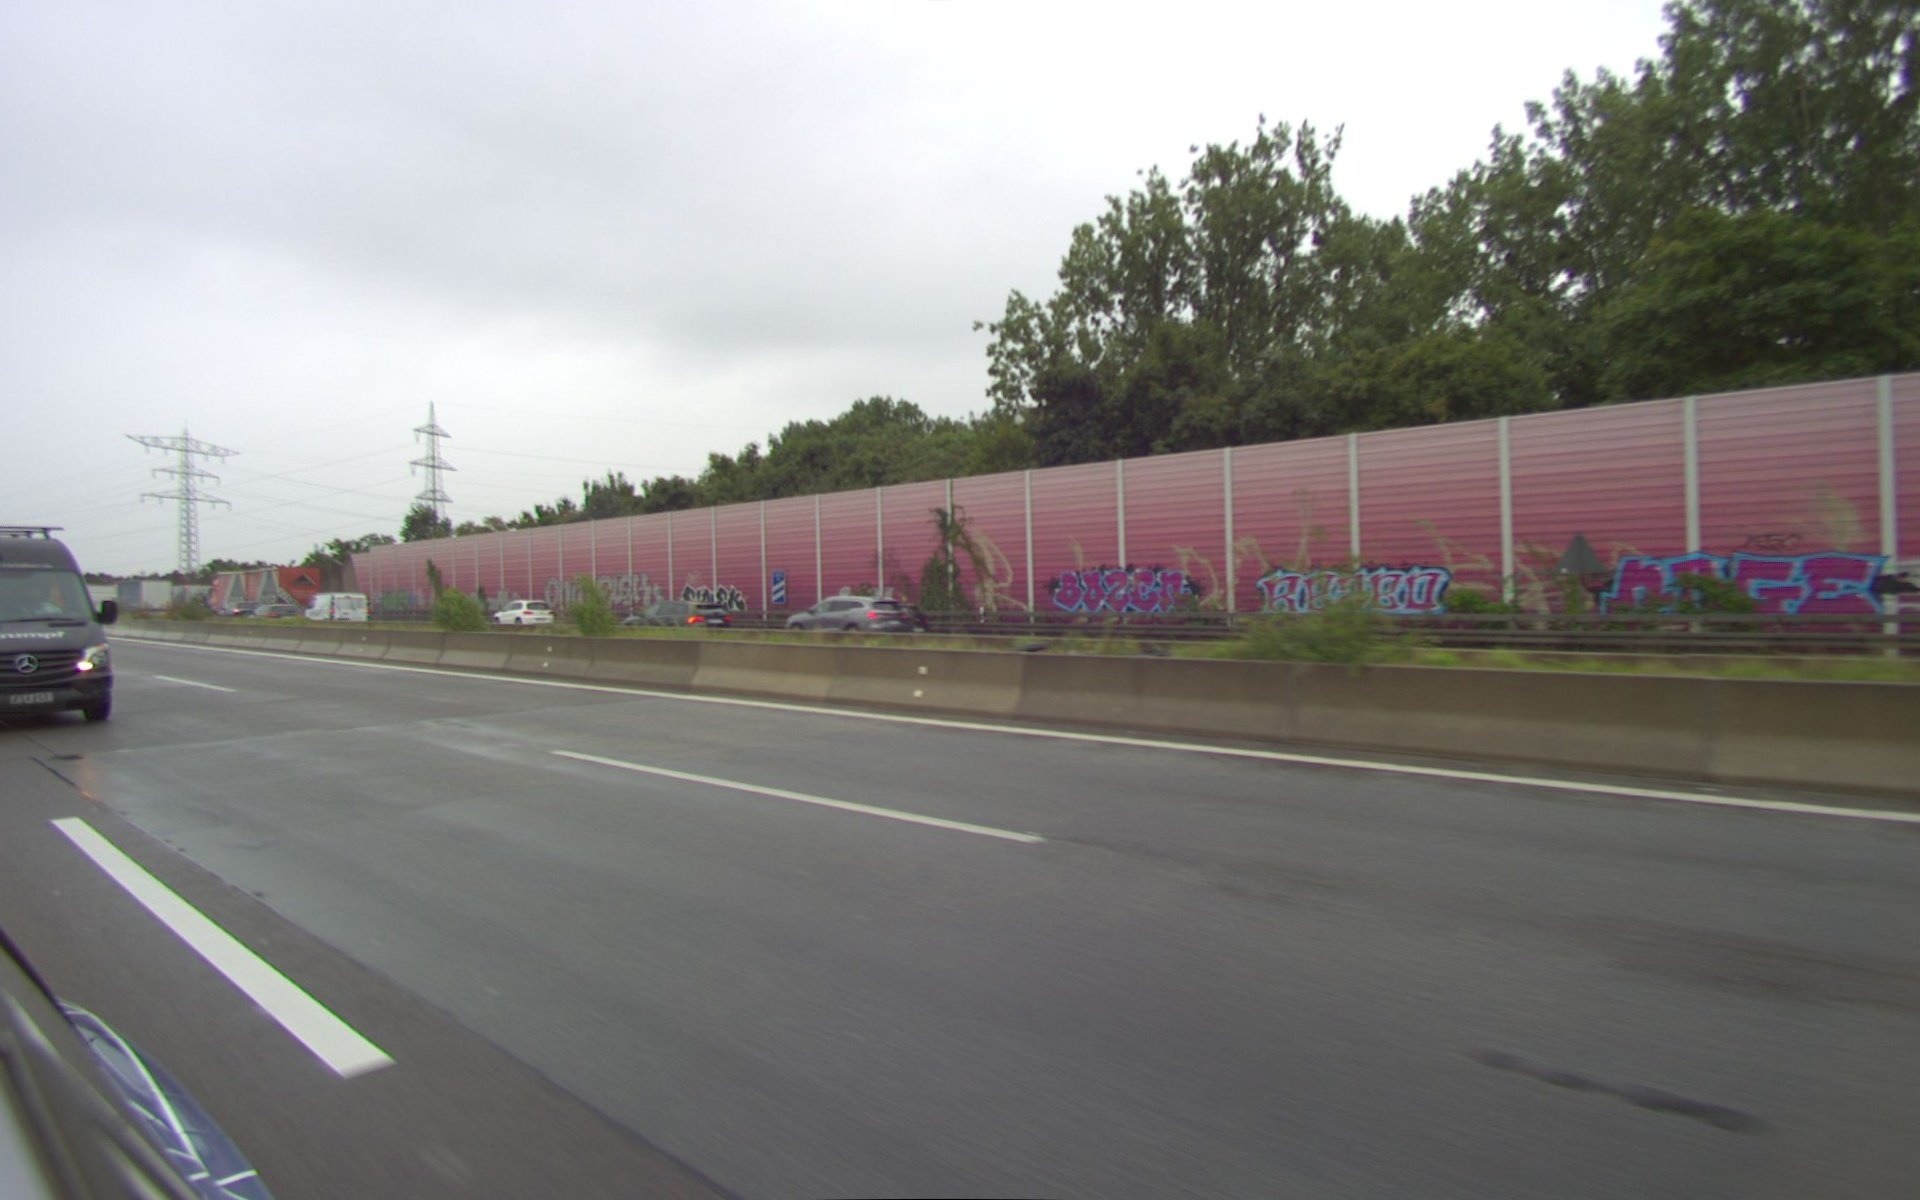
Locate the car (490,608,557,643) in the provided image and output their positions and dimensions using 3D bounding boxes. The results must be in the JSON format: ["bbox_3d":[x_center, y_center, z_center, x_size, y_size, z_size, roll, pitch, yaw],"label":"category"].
[{"bbox_3d":[-23.859,1.381,55.239,3.913,1.663,1.721,-2,4,41],"label":"car"}]

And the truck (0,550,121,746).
[{"bbox_3d":[-13.814,0.599,14.238,6.105,2.355,1.974,-1,1,40],"label":"truck"}]

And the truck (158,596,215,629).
[{"bbox_3d":[-82.779,1.379,108.235,9.374,3.272,2.911,-1,2,41],"label":"truck"}]

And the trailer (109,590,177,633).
[{"bbox_3d":[-84.685,1.210,104.748,14.119,4.057,3.015,-1,2,41],"label":"trailer"}]

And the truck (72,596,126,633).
[{"bbox_3d":[-71.484,1.232,83.966,7.276,2.849,2.243,-1,2,41],"label":"truck"}]

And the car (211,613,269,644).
[{"bbox_3d":[-47.541,1.850,66.787,4.384,1.873,1.974,-1,1,39],"label":"car"}]

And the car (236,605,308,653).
[{"bbox_3d":[-33.005,1.377,48.528,3.650,2.028,1.846,-2,4,41],"label":"car"}]

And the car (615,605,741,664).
[{"bbox_3d":[-8.931,1.059,31.916,3.998,1.737,1.973,-1,-1,41],"label":"car"}]

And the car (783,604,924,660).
[{"bbox_3d":[-3.490,1.001,32.692,4.536,1.660,1.973,-1,-1,41],"label":"car"}]

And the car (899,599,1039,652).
[{"bbox_3d":[0.255,0.854,34.268,4.536,1.660,1.973,-1,-1,41],"label":"car"}]

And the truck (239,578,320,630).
[{"bbox_3d":[-49.785,0.307,73.886,8.489,3.517,2.752,-1,1,41],"label":"truck"}]

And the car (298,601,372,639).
[{"bbox_3d":[-33.465,1.083,54.175,4.440,1.769,2.006,-2,4,41],"label":"car"}]

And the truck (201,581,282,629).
[{"bbox_3d":[-57.011,0.427,80.181,10.613,3.517,2.752,-1,1,41],"label":"truck"}]
